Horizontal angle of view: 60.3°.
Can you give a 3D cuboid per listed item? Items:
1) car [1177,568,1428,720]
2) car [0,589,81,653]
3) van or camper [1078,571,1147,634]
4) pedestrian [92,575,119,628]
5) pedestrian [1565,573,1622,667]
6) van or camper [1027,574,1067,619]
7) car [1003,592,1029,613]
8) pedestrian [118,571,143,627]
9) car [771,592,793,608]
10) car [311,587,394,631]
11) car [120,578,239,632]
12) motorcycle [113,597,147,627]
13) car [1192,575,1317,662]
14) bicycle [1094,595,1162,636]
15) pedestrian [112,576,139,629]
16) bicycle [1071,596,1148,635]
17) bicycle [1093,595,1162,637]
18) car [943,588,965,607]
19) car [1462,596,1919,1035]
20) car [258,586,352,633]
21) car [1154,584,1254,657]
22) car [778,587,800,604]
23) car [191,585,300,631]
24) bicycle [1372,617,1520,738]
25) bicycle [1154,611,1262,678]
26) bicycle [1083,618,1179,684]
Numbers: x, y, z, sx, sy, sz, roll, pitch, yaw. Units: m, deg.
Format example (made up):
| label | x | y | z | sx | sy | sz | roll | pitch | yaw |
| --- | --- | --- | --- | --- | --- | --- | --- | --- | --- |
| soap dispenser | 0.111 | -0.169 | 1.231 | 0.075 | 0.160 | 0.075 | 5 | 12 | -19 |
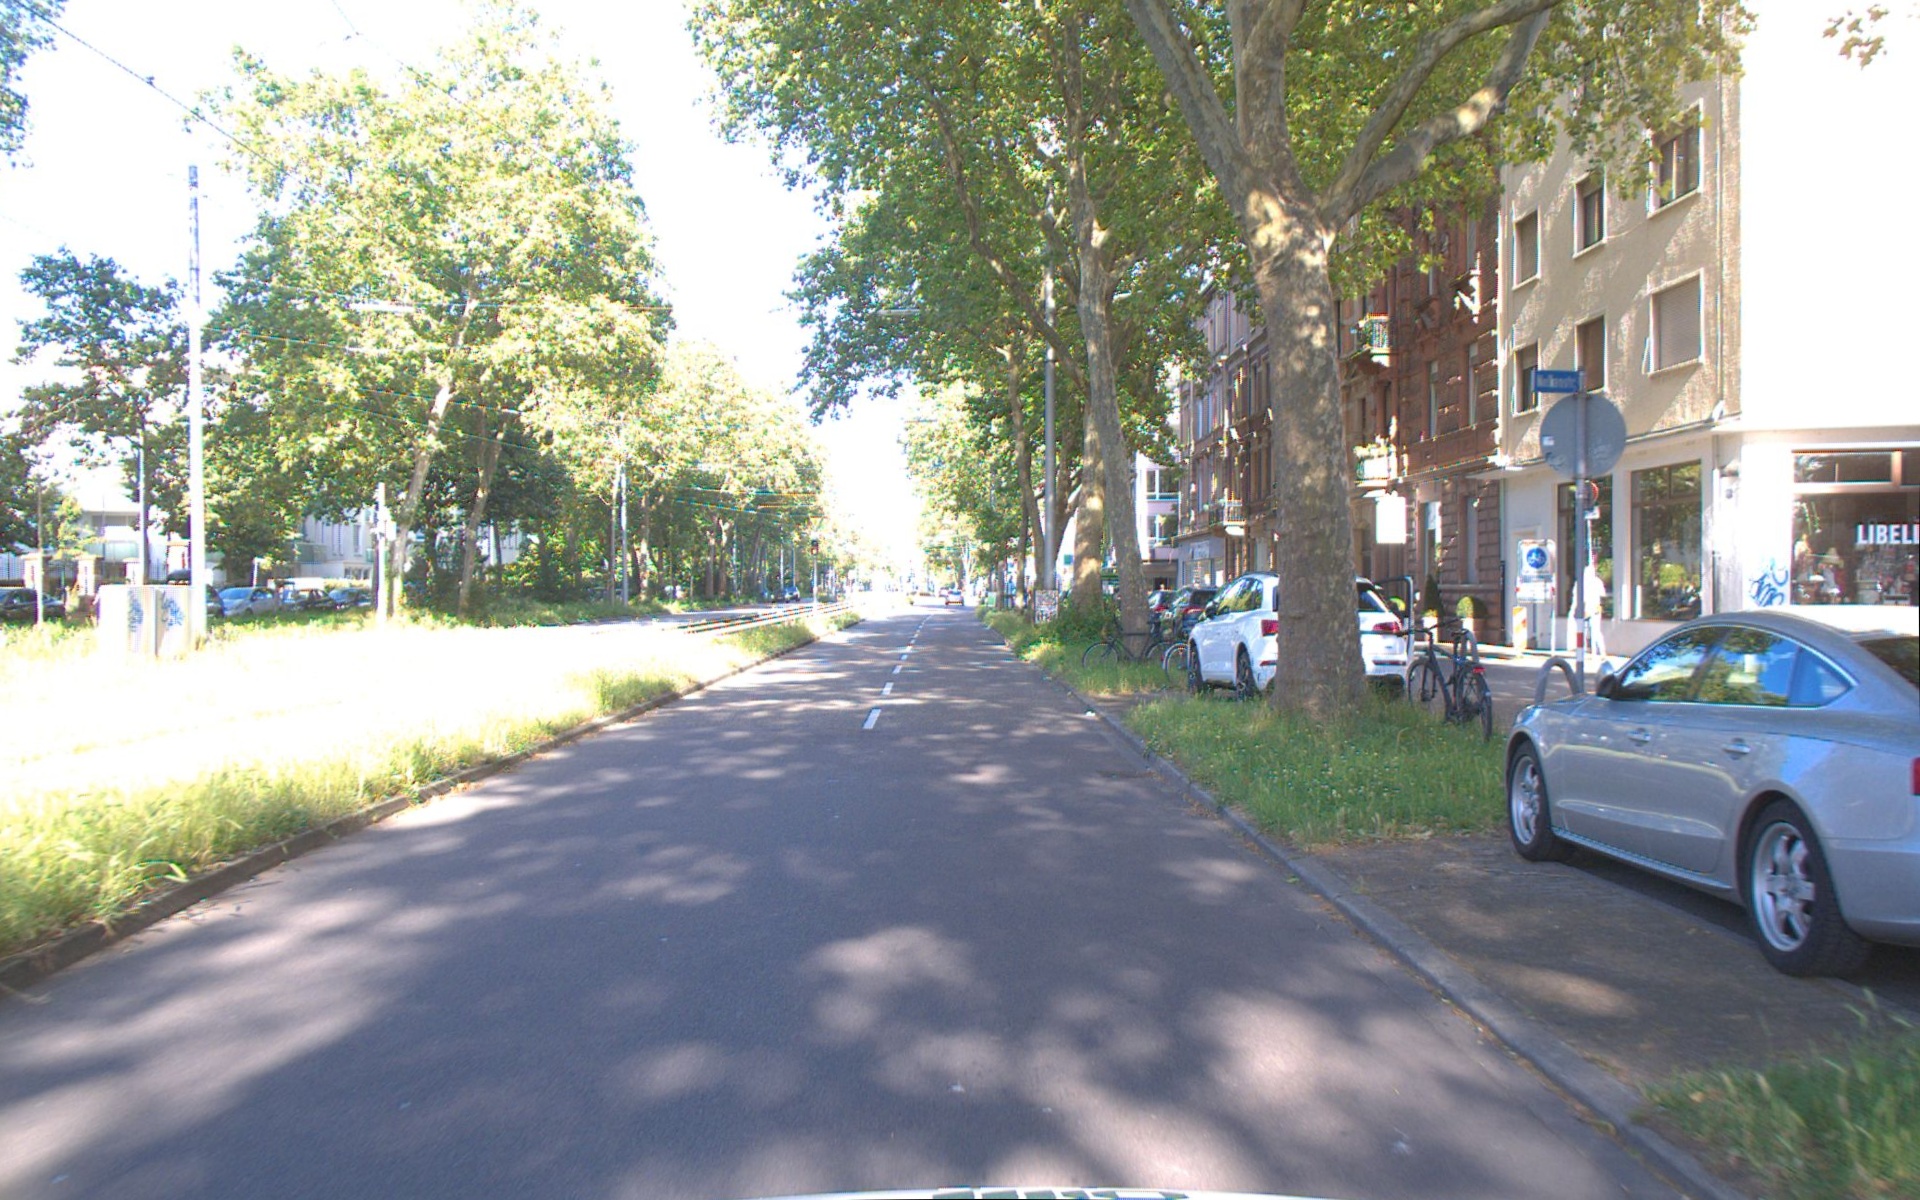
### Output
| label | x | y | z | sx | sy | sz | roll | pitch | yaw |
| --- | --- | --- | --- | --- | --- | --- | --- | --- | --- |
| car | 4.085 | 0.463 | 20.580 | 1.865 | 1.664 | 4.821 | 0 | 0 | -3 |
| car | -26.533 | 0.556 | 45.652 | 1.953 | 1.678 | 4.827 | 0 | 1 | 0 |
| van or camper | 5.544 | 0.066 | 60.633 | 1.797 | 2.134 | 4.772 | 3 | 0 | -2 |
| pedestrian | -32.895 | 0.051 | 63.670 | 0.700 | 2.049 | 0.626 | 0 | 0 | 0 |
| pedestrian | 11.885 | 0.370 | 31.029 | 0.779 | 1.734 | 0.724 | 0 | 0 | -1 |
| van or camper | 5.123 | -0.188 | 98.314 | 2.139 | 2.523 | 6.269 | 2 | 0 | 2 |
| car | 4.262 | 0.208 | 126.177 | 1.649 | 1.540 | 3.665 | 1 | 0 | -3 |
| pedestrian | -30.152 | -0.039 | 60.143 | 0.573 | 2.049 | 0.710 | 0 | 0 | -1 |
| car | -18.586 | 0.033 | 172.736 | 1.758 | 1.534 | 4.338 | -3 | 0 | 0 |
| car | -26.679 | 0.369 | 72.793 | 2.066 | 1.840 | 4.736 | 0 | 1 | -3 |
| car | -26.501 | 0.144 | 56.308 | 1.731 | 1.749 | 4.422 | 0 | 1 | 3 |
| motorcycle | -30.166 | 0.430 | 60.114 | 0.571 | 1.071 | 1.293 | 0 | 0 | -1 |
| car | 5.702 | 0.312 | 32.464 | 1.660 | 1.556 | 4.261 | 0 | 1 | -1 |
| bicycle | 5.549 | 0.507 | 54.660 | 2.120 | 1.317 | 0.983 | 1 | 0 | -1 |
| pedestrian | -32.122 | 0.093 | 63.658 | 0.700 | 2.049 | 0.626 | 0 | 0 | 0 |
| bicycle | 5.179 | 0.532 | 57.317 | 2.500 | 1.317 | 0.973 | 1 | 0 | -8 |
| bicycle | 5.410 | 0.504 | 53.508 | 2.119 | 1.317 | 0.983 | 1 | 0 | 1 |
| car | -0.578 | -0.218 | 152.416 | 1.980 | 1.691 | 3.999 | 0 | 0 | -1 |
| car | 3.967 | 0.705 | 7.618 | 1.718 | 1.422 | 5.025 | 0 | 0 | -1 |
| car | -26.615 | 0.352 | 67.376 | 2.066 | 1.840 | 4.737 | 0 | 1 | -2 |
| car | 5.592 | 0.418 | 38.391 | 1.660 | 1.533 | 4.582 | 0 | 1 | 0 |
| car | -19.950 | -0.494 | 192.909 | 1.952 | 1.903 | 4.873 | -2 | 0 | 0 |
| car | -26.640 | 0.277 | 61.799 | 1.952 | 1.643 | 4.422 | 0 | 1 | 3 |
| bicycle | 4.182 | 0.637 | 14.390 | 0.626 | 0.941 | 2.164 | 0 | 0 | -1 |
| bicycle | 3.710 | 0.648 | 24.676 | 1.749 | 0.944 | 0.644 | 0 | 0 | -42 |
| bicycle | 2.824 | 0.837 | 27.305 | 1.560 | 1.077 | 0.404 | 0 | 0 | 6 |
